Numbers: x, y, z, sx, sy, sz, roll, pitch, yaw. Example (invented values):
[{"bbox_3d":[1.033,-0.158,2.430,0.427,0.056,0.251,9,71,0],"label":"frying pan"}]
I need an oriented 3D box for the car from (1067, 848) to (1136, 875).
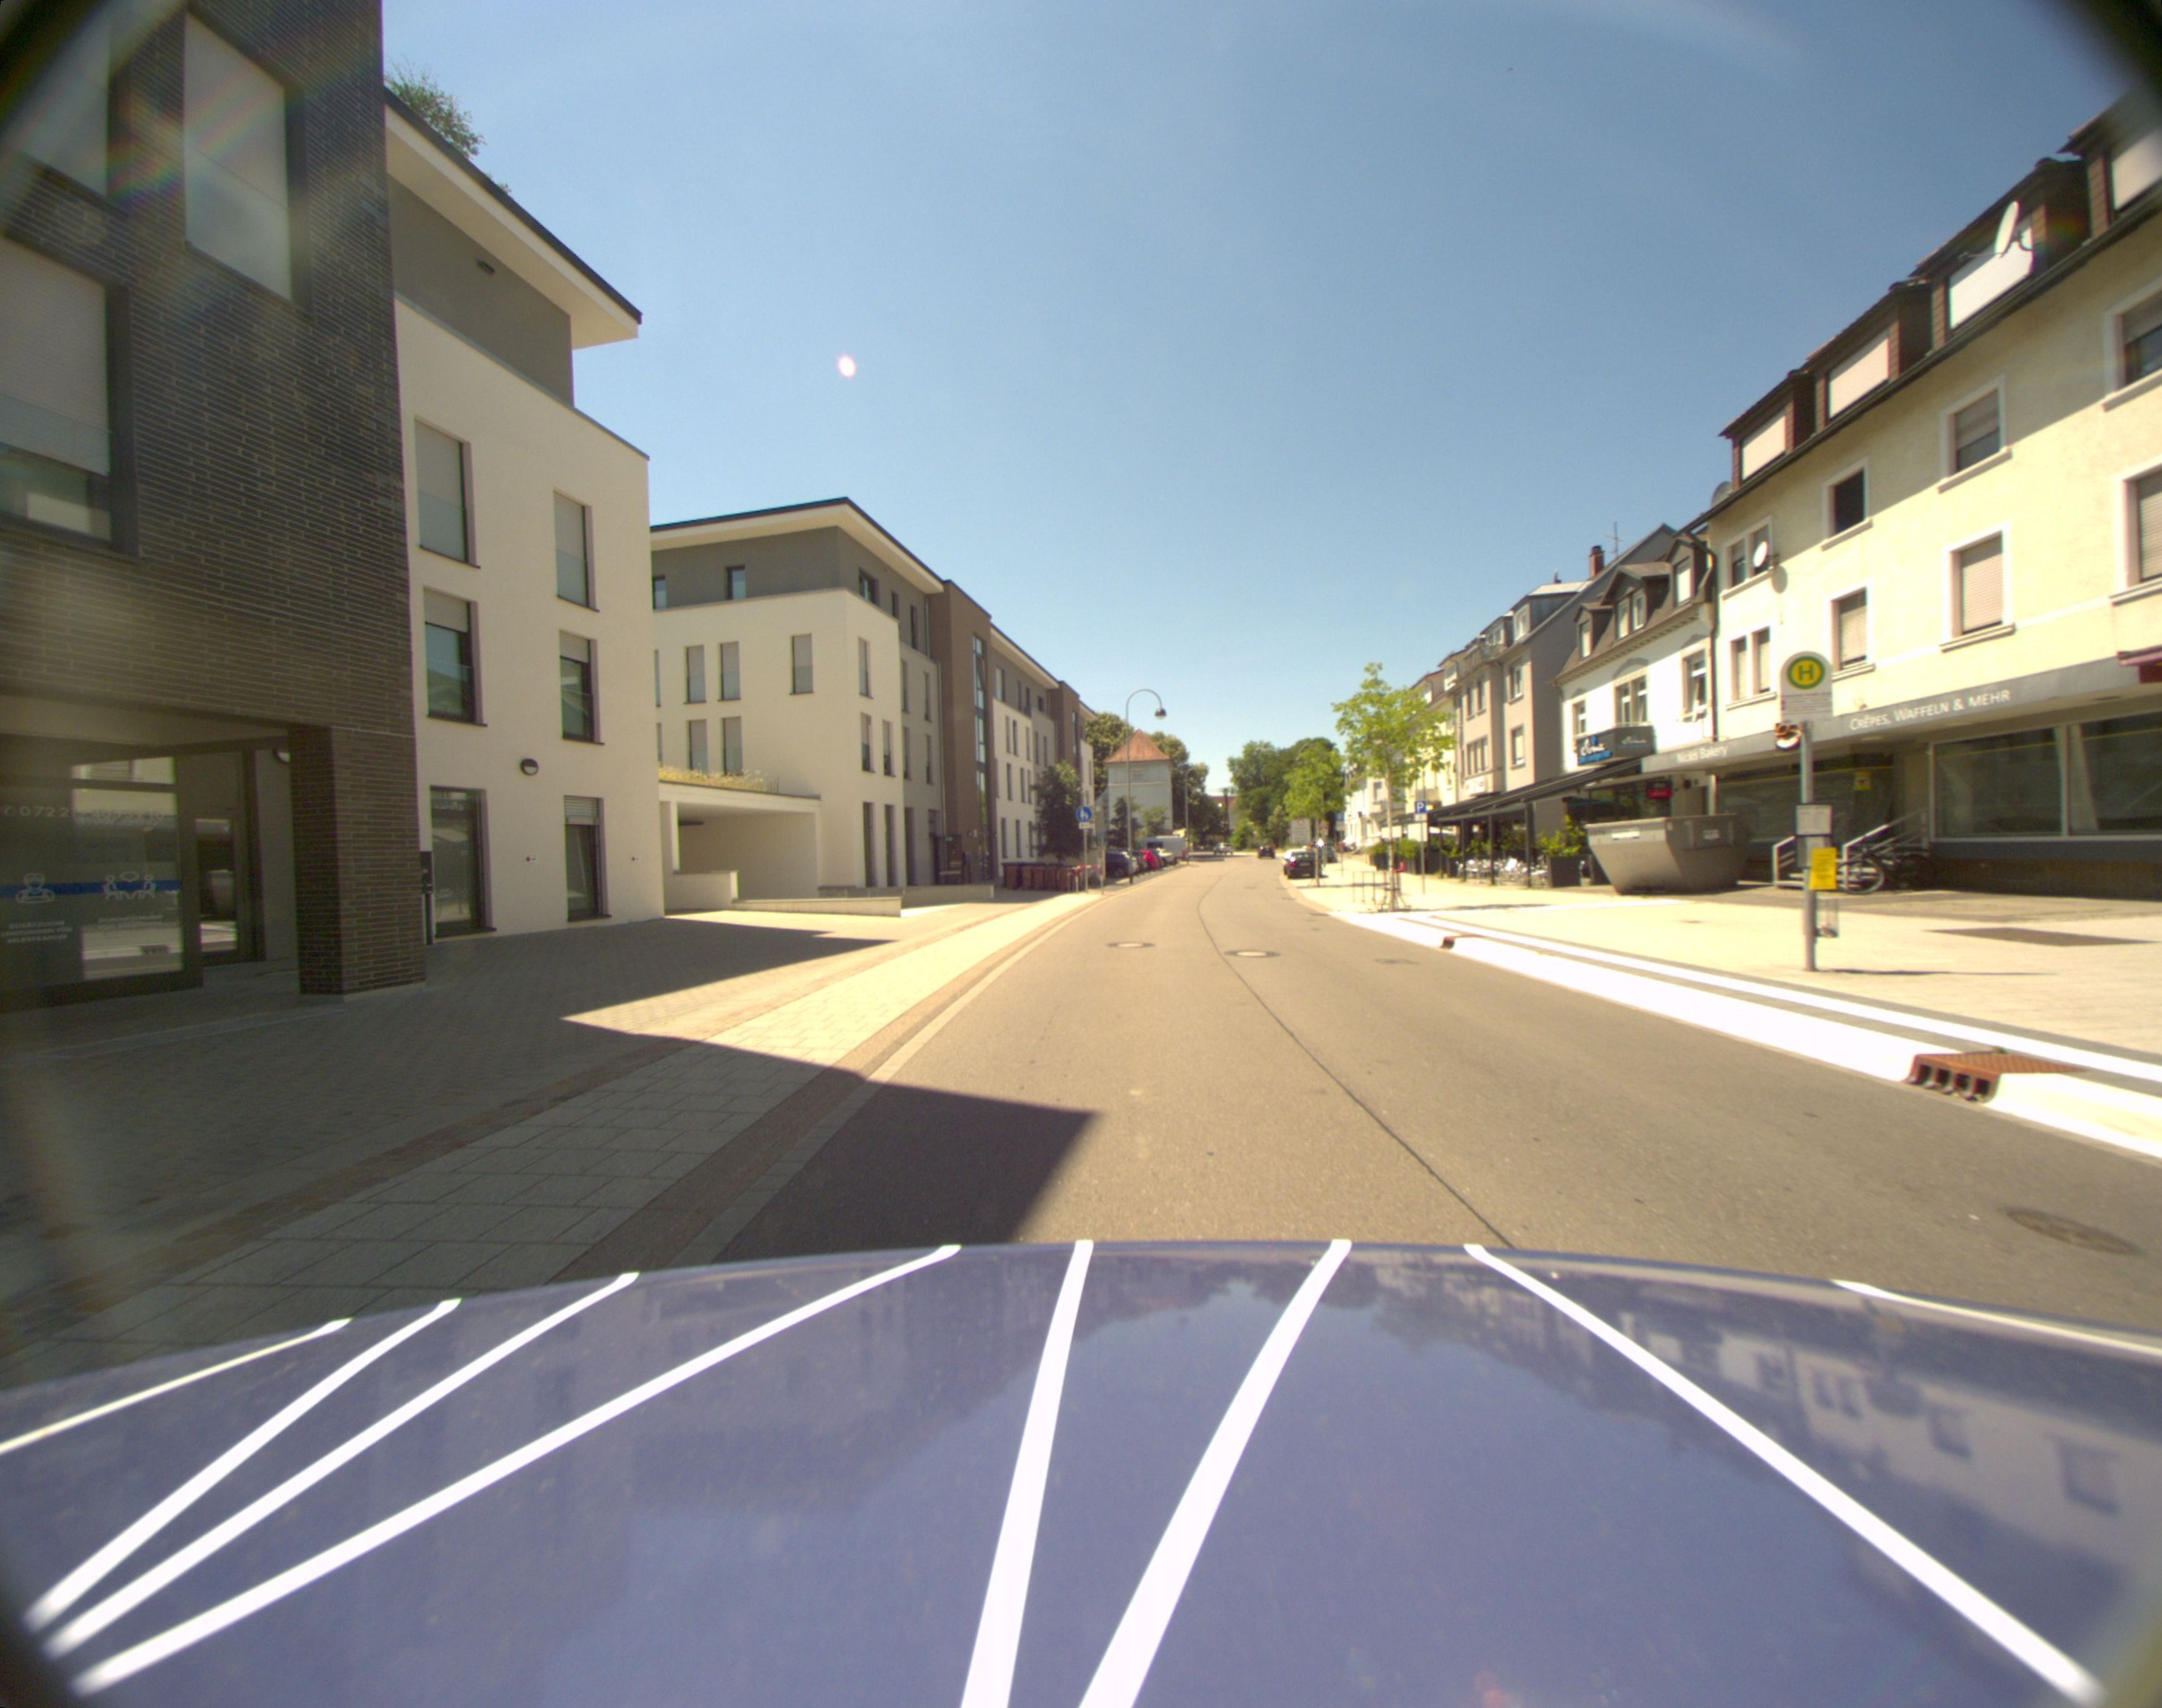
[{"bbox_3d":[1.167,0.412,42.933,3.662,1.437,1.536,1,2,14],"label":"car"}]

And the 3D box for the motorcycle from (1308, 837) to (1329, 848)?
[{"bbox_3d":[27.443,-1.318,87.926,2.320,1.317,0.726,-1,1,15],"label":"motorcycle"}]

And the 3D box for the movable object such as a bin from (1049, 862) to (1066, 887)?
[{"bbox_3d":[-1.022,0.886,33.062,0.569,1.054,0.561,1,1,14],"label":"movable object such as a bin"}]

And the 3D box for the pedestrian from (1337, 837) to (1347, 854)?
[{"bbox_3d":[27.468,-0.913,79.888,0.757,1.756,0.803,-1,1,2],"label":"pedestrian"}]

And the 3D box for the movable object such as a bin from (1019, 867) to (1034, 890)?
[{"bbox_3d":[-2.167,0.980,30.442,0.474,0.925,0.529,0,1,12],"label":"movable object such as a bin"}]

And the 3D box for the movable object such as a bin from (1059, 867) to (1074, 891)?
[{"bbox_3d":[-0.582,1.004,30.719,0.468,0.925,0.529,0,1,12],"label":"movable object such as a bin"}]

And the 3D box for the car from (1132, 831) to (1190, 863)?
[{"bbox_3d":[7.115,-0.631,67.238,4.862,2.720,1.852,-1,1,13],"label":"car"}]

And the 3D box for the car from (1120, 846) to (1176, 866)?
[{"bbox_3d":[5.504,0.151,62.425,4.377,1.520,1.721,-1,1,12],"label":"car"}]

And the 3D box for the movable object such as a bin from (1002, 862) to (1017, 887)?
[{"bbox_3d":[-3.032,0.866,32.312,0.570,1.036,0.560,0,1,-1],"label":"movable object such as a bin"}]

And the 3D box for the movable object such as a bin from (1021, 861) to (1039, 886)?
[{"bbox_3d":[-2.215,0.865,33.145,0.647,1.054,0.626,1,1,14],"label":"movable object such as a bin"}]

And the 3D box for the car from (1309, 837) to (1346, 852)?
[{"bbox_3d":[29.137,-1.151,89.765,4.074,1.729,1.816,-1,1,17],"label":"car"}]

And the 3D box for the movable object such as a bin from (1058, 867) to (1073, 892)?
[{"bbox_3d":[-0.615,1.008,30.151,0.474,0.925,0.529,0,1,12],"label":"movable object such as a bin"}]

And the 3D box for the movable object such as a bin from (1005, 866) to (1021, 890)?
[{"bbox_3d":[-2.745,0.963,30.662,0.474,0.925,0.529,0,1,12],"label":"movable object such as a bin"}]

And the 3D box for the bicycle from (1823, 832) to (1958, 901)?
[{"bbox_3d":[16.099,0.251,15.151,1.768,1.227,0.616,-4,0,12],"label":"bicycle"}]

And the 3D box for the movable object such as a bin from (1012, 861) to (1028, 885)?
[{"bbox_3d":[-2.729,0.853,33.866,0.647,1.054,0.625,0,1,0],"label":"movable object such as a bin"}]

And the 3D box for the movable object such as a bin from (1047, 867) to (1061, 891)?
[{"bbox_3d":[-1.096,1.001,30.804,0.466,0.925,0.522,0,1,12],"label":"movable object such as a bin"}]

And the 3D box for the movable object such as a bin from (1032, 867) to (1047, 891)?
[{"bbox_3d":[-1.669,0.995,30.355,0.474,0.925,0.529,0,1,12],"label":"movable object such as a bin"}]

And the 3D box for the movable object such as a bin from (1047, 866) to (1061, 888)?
[{"bbox_3d":[-1.148,0.961,32.256,0.517,0.918,0.437,0,1,-10],"label":"movable object such as a bin"}]

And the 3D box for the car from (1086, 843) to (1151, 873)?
[{"bbox_3d":[2.351,0.244,47.611,3.814,1.776,1.842,-1,1,10],"label":"car"}]

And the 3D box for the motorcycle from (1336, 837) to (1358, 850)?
[{"bbox_3d":[29.423,-1.174,84.076,2.320,1.317,0.726,-1,1,15],"label":"motorcycle"}]

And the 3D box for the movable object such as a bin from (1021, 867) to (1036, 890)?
[{"bbox_3d":[-2.152,0.983,31.029,0.466,0.925,0.522,0,1,12],"label":"movable object such as a bin"}]

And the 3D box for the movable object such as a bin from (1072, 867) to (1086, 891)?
[{"bbox_3d":[-0.077,1.007,30.594,0.474,0.925,0.529,0,1,12],"label":"movable object such as a bin"}]

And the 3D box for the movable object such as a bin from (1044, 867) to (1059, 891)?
[{"bbox_3d":[-1.154,1.002,30.248,0.474,0.925,0.529,0,1,12],"label":"movable object such as a bin"}]

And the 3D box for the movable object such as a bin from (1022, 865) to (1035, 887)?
[{"bbox_3d":[-2.243,0.953,32.471,0.483,0.918,0.437,0,1,-10],"label":"movable object such as a bin"}]

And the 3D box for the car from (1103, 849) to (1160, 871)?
[{"bbox_3d":[3.542,0.395,52.987,3.814,1.454,1.653,-1,1,11],"label":"car"}]

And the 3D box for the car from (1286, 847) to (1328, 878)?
[{"bbox_3d":[12.021,0.415,40.601,1.757,1.437,4.453,-5,0,13],"label":"car"}]

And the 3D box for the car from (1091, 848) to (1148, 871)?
[{"bbox_3d":[2.575,0.344,50.364,3.613,1.454,1.618,0,1,11],"label":"car"}]

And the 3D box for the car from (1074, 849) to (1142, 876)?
[{"bbox_3d":[1.633,0.494,45.164,3.814,1.474,1.779,-1,1,10],"label":"car"}]

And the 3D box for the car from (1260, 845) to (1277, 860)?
[{"bbox_3d":[19.343,-0.199,78.315,1.618,1.445,3.868,1,1,15],"label":"car"}]

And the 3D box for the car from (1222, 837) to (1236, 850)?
[{"bbox_3d":[19.635,-1.372,100.879,1.683,1.476,4.087,1,4,11],"label":"car"}]

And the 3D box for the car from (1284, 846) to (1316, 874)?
[{"bbox_3d":[13.228,0.339,45.715,1.683,1.475,3.772,-3,0,17],"label":"car"}]

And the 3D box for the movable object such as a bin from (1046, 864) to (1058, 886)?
[{"bbox_3d":[-1.295,0.934,33.805,0.485,0.926,0.467,1,1,7],"label":"movable object such as a bin"}]

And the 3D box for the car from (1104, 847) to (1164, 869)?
[{"bbox_3d":[4.004,0.277,57.408,4.355,1.542,1.653,-1,1,9],"label":"car"}]

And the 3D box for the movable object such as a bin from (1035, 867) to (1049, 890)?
[{"bbox_3d":[-1.591,0.989,30.921,0.466,0.925,0.522,0,1,12],"label":"movable object such as a bin"}]

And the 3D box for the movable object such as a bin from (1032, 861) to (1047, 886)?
[{"bbox_3d":[-1.846,0.864,33.745,0.647,1.054,0.625,0,1,0],"label":"movable object such as a bin"}]
